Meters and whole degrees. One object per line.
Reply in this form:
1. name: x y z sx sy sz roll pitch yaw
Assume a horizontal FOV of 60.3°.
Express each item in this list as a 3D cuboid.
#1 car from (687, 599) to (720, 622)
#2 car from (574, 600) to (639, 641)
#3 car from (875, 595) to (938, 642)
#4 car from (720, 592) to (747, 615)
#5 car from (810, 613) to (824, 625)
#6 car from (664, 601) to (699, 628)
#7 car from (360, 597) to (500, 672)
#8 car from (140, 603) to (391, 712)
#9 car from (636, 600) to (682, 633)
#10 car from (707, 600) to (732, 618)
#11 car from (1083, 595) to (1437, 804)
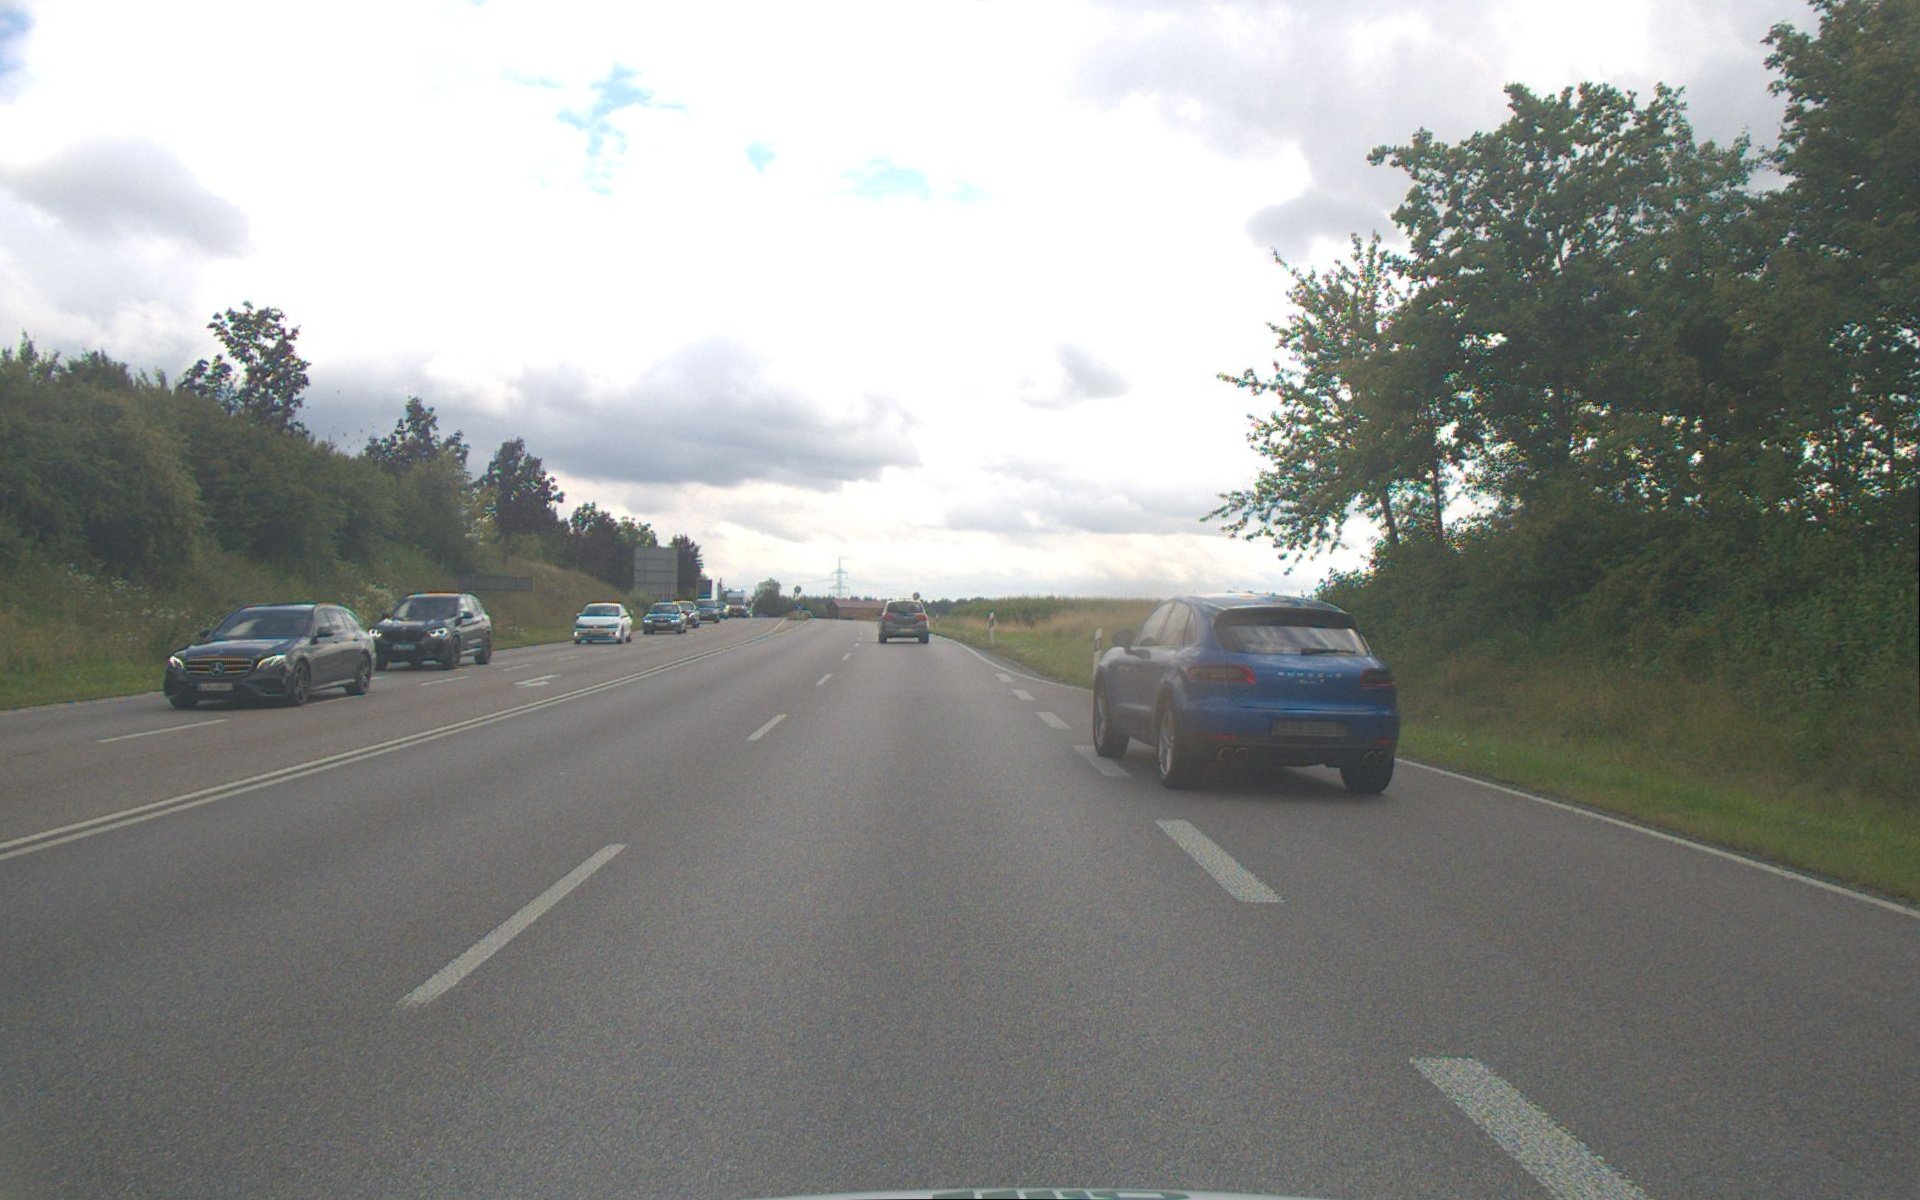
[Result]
1. car: -18.023 0.732 116.356 1.954 1.534 3.997 0 0 -4
2. car: -12.971 0.735 60.909 1.634 1.467 4.144 0 0 -2
3. car: -1.916 0.633 58.227 1.955 1.562 3.995 1 0 -6
4. car: -22.475 0.372 164.591 2.317 2.250 5.916 0 0 -5
5. car: -22.498 2.997 260.501 1.954 1.745 3.998 0 0 -3
6. car: -16.181 0.831 96.279 1.762 1.512 4.163 0 0 -6
7. car: -12.258 0.753 38.574 1.954 1.639 4.988 0 0 -4
8. car: -10.651 0.816 25.839 1.953 1.520 4.991 0 0 -2
9. car: -14.379 0.760 79.226 1.956 1.534 3.994 0 0 -7
10. car: -20.791 0.795 143.153 1.955 1.517 3.995 0 0 -6
11. car: 2.510 0.770 15.182 1.955 1.598 4.750 0 0 -6
